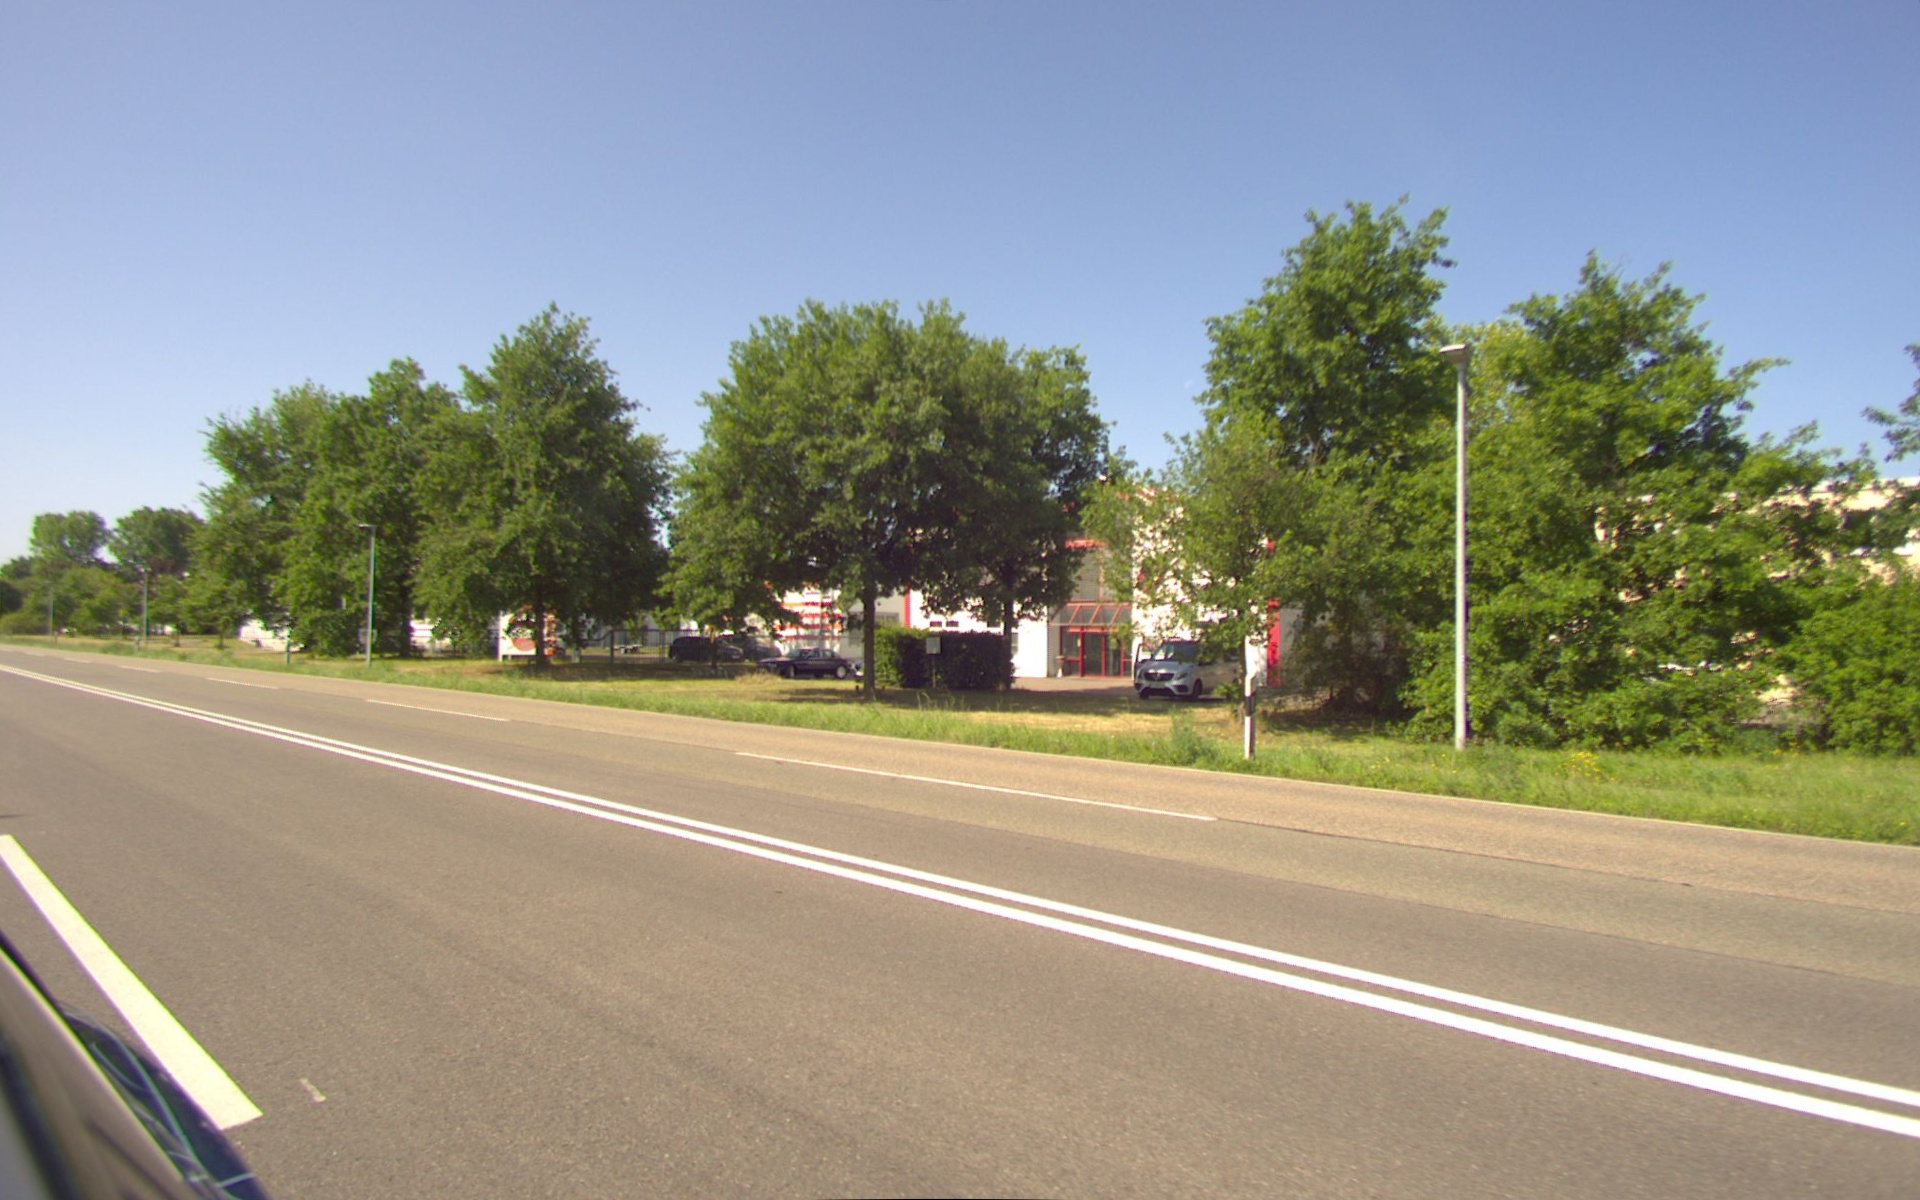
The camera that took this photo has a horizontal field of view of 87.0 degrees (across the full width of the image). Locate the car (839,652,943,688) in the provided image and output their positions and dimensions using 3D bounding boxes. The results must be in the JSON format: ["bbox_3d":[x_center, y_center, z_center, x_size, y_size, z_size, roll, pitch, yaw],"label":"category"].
[{"bbox_3d":[-2.684,2.787,40.193,1.862,1.316,3.944,-2,-5,41],"label":"car"}]

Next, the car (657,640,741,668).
[{"bbox_3d":[-13.570,2.806,52.527,4.657,1.360,1.769,-1,-4,39],"label":"car"}]

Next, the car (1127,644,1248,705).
[{"bbox_3d":[7.209,2.341,31.830,1.999,1.744,4.179,-1,-5,40],"label":"car"}]

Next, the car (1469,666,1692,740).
[{"bbox_3d":[13.636,2.203,22.366,3.998,1.360,1.654,-1,-3,41],"label":"car"}]

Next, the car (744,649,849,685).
[{"bbox_3d":[-7.120,2.957,44.325,1.856,1.335,4.305,0,-5,40],"label":"car"}]

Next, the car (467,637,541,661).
[{"bbox_3d":[-29.304,3.130,65.057,1.756,1.512,3.946,-1,-3,40],"label":"car"}]

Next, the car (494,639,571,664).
[{"bbox_3d":[-26.283,3.149,62.292,1.756,1.512,3.946,-1,-3,40],"label":"car"}]

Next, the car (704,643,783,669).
[{"bbox_3d":[-12.102,3.117,56.407,4.657,1.360,1.769,-1,-4,39],"label":"car"}]
